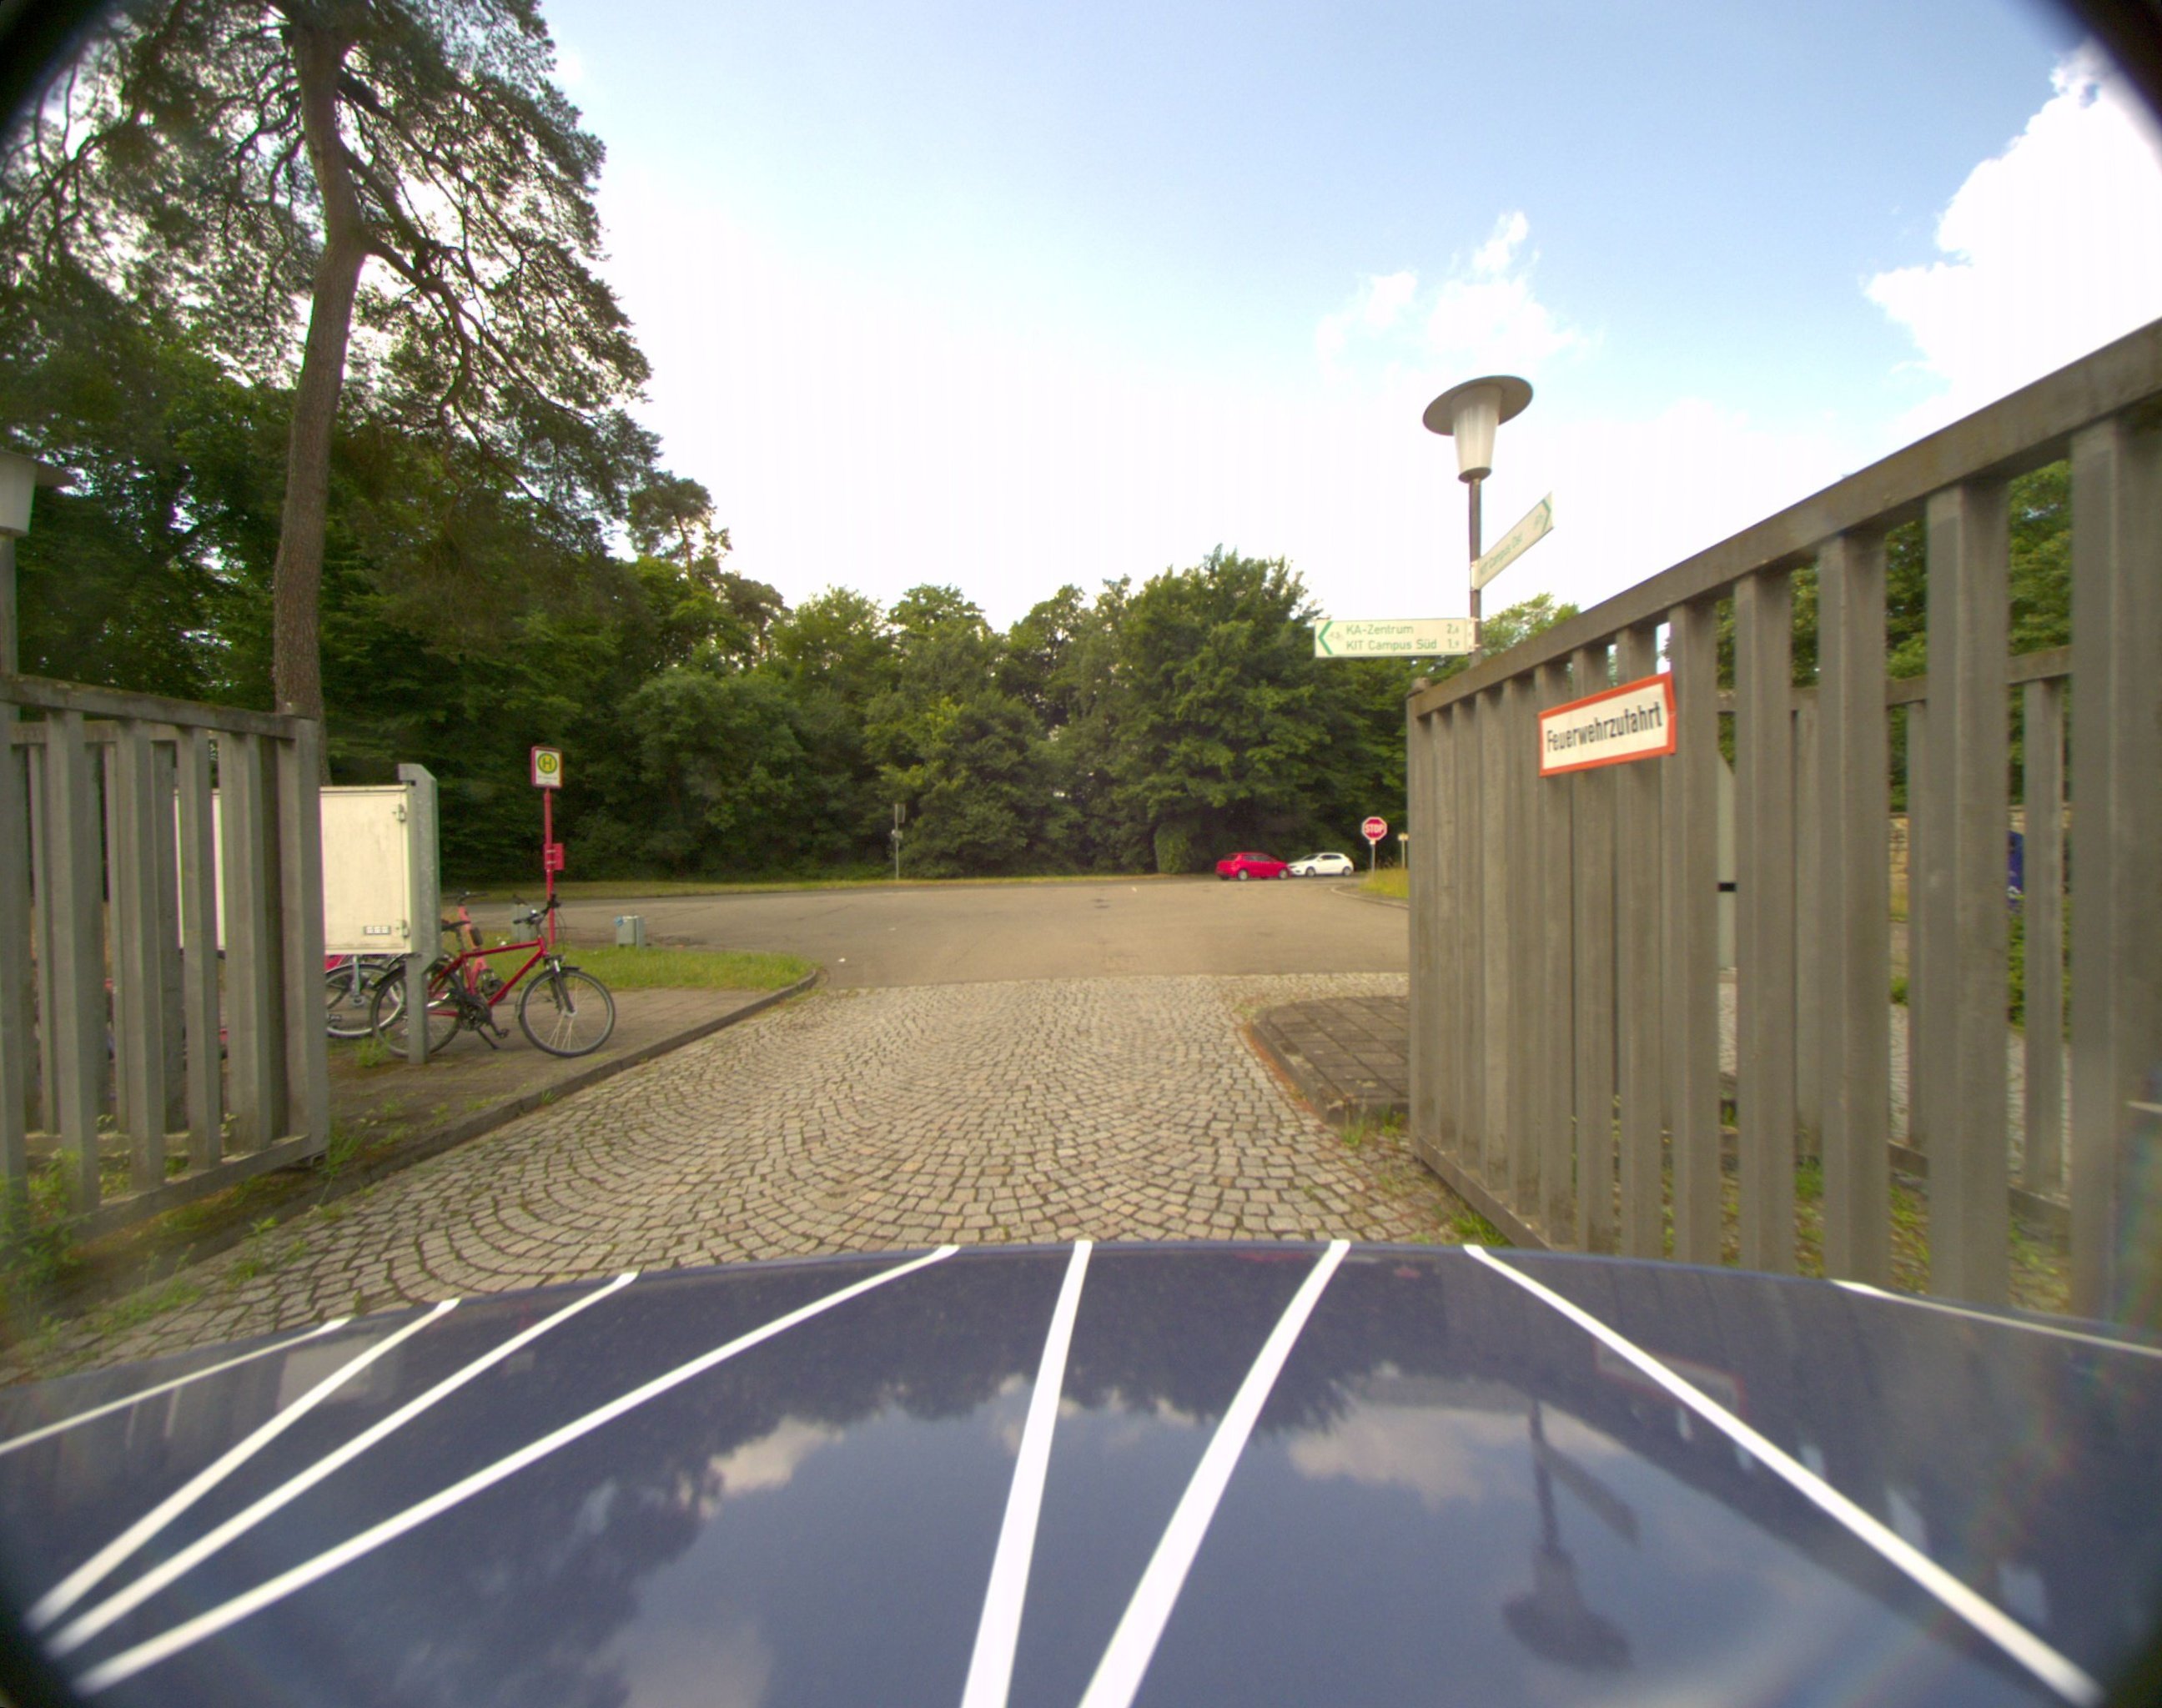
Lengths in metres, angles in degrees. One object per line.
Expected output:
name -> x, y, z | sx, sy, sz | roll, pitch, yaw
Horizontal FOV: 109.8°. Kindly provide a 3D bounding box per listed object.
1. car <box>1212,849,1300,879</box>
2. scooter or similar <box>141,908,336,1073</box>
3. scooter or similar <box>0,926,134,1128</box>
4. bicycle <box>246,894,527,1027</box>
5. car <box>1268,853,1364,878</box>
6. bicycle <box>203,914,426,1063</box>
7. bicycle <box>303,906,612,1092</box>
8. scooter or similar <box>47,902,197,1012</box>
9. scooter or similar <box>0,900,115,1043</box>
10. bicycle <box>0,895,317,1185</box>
car -> 9.210, 0.513, 39.994 | 4.209, 1.455, 1.996 | -1, 1, -24
scooter or similar -> -6.785, 1.071, 6.131 | 1.282, 1.238, 0.386 | 0, 1, 8
scooter or similar -> -7.056, 1.109, 5.047 | 0.439, 1.144, 1.249 | -2, 1, -26
bicycle -> -7.010, 1.054, 7.748 | 2.173, 1.233, 0.635 | -1, 1, -3
car -> 14.028, 0.647, 45.383 | 5.419, 1.370, 1.996 | -1, 1, -22
bicycle -> -6.752, 1.141, 6.713 | 1.608, 1.155, 0.623 | 0, 0, 12
bicycle -> -4.627, 1.055, 5.737 | 1.739, 1.270, 0.672 | 0, 1, -2
scooter or similar -> -11.208, 1.192, 8.900 | 1.090, 1.221, 0.438 | 1, 2, -4
scooter or similar -> -11.015, 1.198, 7.866 | 1.251, 1.407, 0.531 | 0, -5, 2
bicycle -> -5.321, 0.947, 4.138 | 1.904, 1.409, 0.516 | 0, 2, 7
